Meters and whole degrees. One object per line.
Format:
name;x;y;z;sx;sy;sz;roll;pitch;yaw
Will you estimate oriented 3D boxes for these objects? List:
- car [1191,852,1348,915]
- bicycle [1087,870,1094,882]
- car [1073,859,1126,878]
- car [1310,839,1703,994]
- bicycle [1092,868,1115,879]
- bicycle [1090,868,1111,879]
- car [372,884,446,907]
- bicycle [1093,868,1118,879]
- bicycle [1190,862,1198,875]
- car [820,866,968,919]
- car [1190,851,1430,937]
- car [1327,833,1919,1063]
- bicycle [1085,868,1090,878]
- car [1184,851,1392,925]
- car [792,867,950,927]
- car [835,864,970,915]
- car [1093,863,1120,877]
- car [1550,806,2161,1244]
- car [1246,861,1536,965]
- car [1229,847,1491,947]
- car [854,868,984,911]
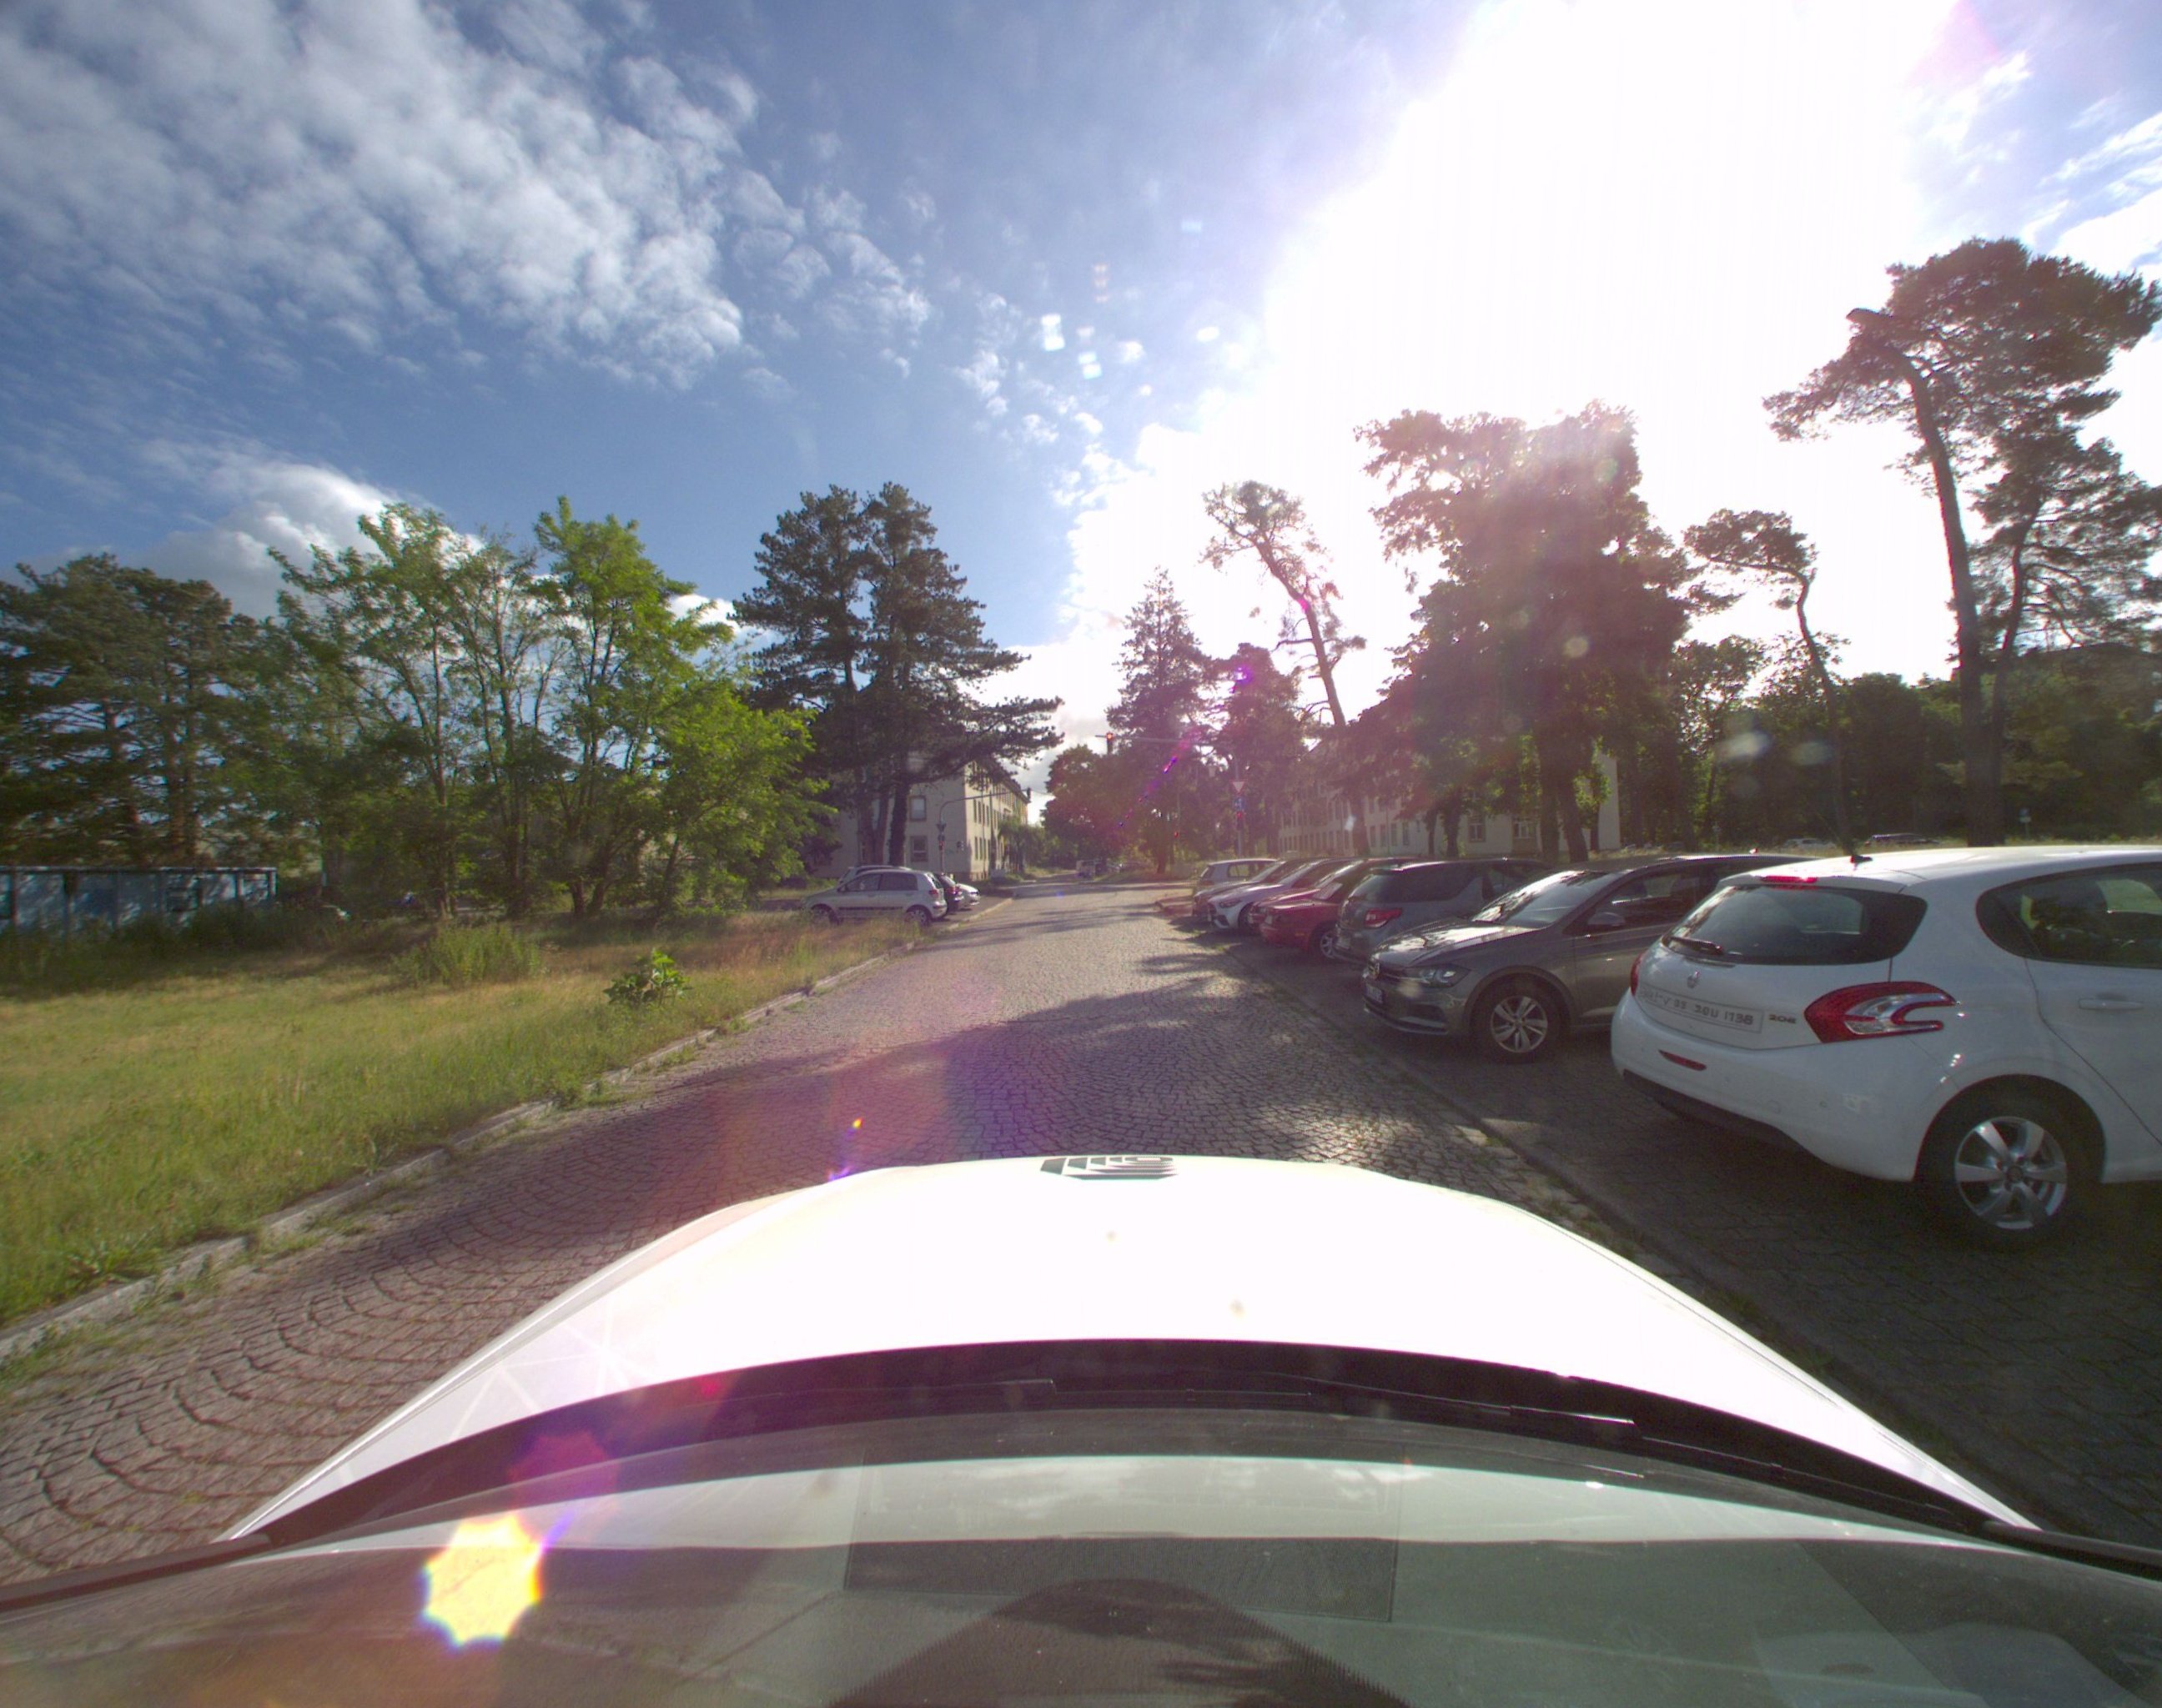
car;5.090;0.784;22.311;3.868;1.415;1.637;-4;0;1
bicycle;0.801;1.823;67.625;0.466;1.010;1.584;0;-1;-3
car;2.004;1.578;89.172;5.535;2.014;1.988;0;-1;-18
car;4.869;0.679;9.733;3.695;1.449;1.816;-4;0;0
bicycle;2.007;1.728;72.899;2.003;1.010;0.630;0;-1;-7
bicycle;1.780;1.766;74.655;1.836;1.010;0.634;0;-1;-7
car;-47.647;2.939;57.848;1.895;1.433;4.001;-2;-1;1
bicycle;2.148;1.691;71.186;2.107;1.010;0.619;0;-1;-7
bicycle;8.204;1.066;59.072;0.300;0.961;1.584;0;-1;-3
car;-5.426;1.110;24.031;3.977;1.480;1.801;0;0;-3
car;4.594;0.785;16.818;4.416;1.415;1.781;-4;0;1
car;4.222;0.687;6.867;3.694;1.449;1.856;-4;0;1
bicycle;0.646;1.863;80.845;0.416;1.010;1.483;0;-1;2
car;4.856;0.789;19.532;4.543;1.415;1.637;-4;0;1
car;-5.423;1.105;21.371;3.737;1.487;1.644;0;0;-3
car;-5.814;1.137;26.951;4.070;1.593;1.883;0;0;-3
car;2.678;1.657;85.661;2.776;1.467;1.669;0;-1;-4
car;4.660;0.594;3.944;3.694;1.534;1.761;-4;0;1
car;4.537;0.832;12.334;3.694;1.223;1.747;-4;0;1
car;4.896;0.739;14.699;4.113;1.449;1.637;-4;0;1
car;-5.757;1.243;29.304;4.323;1.468;1.829;0;0;-3
